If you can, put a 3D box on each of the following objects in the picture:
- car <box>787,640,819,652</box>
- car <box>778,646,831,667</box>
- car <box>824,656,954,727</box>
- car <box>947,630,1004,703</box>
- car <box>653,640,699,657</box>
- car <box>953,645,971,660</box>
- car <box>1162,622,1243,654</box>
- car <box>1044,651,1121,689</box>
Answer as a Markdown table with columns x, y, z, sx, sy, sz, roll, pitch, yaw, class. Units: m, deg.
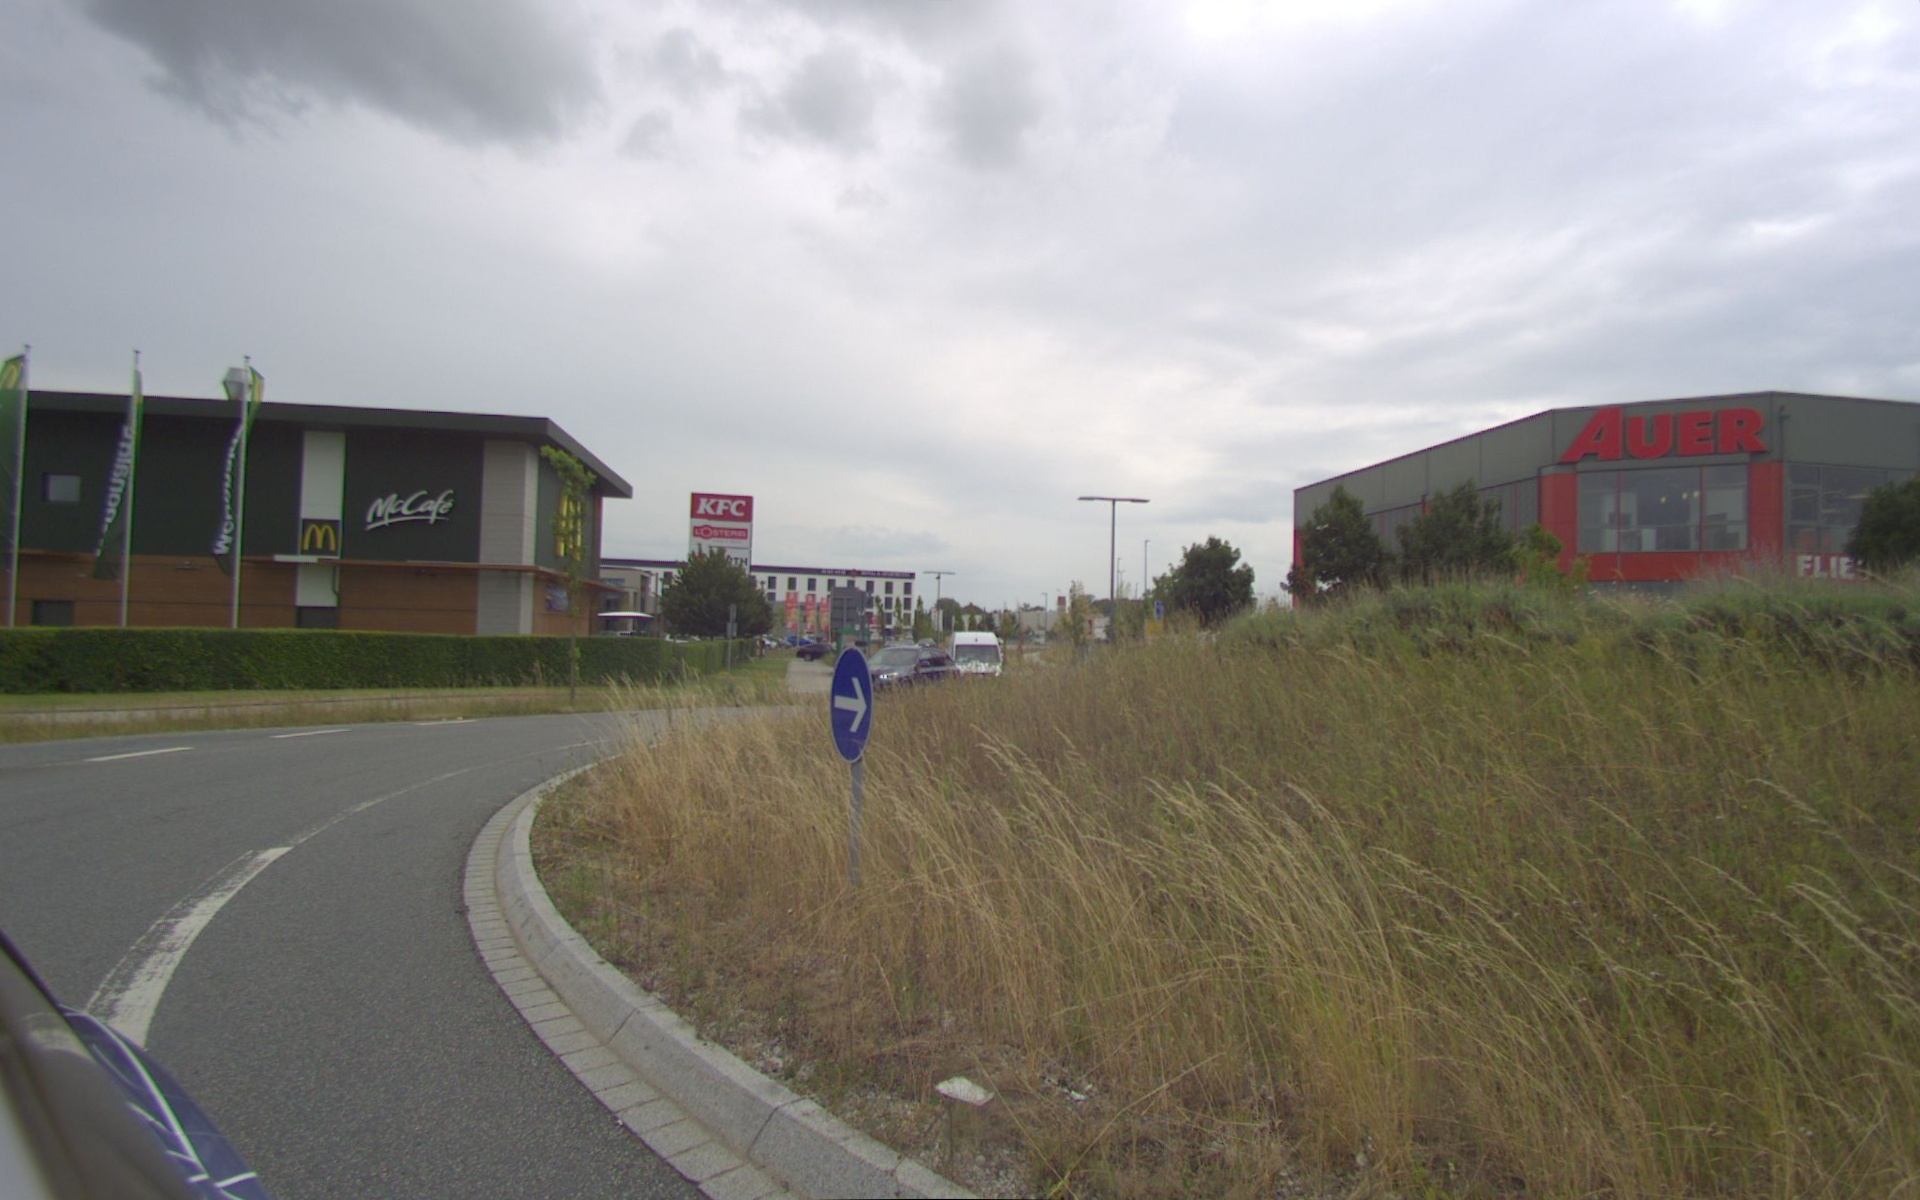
| x | y | z | sx | sy | sz | roll | pitch | yaw | class |
| --- | --- | --- | --- | --- | --- | --- | --- | --- | --- |
| -20.778 | 6.058 | 133.970 | 3.954 | 1.497 | 1.842 | -1 | -1 | 9 | car |
| -12.066 | 4.382 | 78.568 | 3.934 | 1.497 | 1.852 | 0 | -1 | -12 | car |
| -1.758 | 2.309 | 26.469 | 1.856 | 1.620 | 3.970 | 0 | -2 | 22 | car |
| 0.643 | 2.512 | 39.456 | 2.000 | 2.547 | 6.101 | 1 | -2 | 2 | car |
| -25.554 | 4.365 | 91.170 | 3.934 | 1.497 | 1.852 | 0 | -1 | -12 | car |
| 0.266 | 5.304 | 101.668 | 1.704 | 1.419 | 4.641 | 2 | -4 | 1 | car |
| 20.639 | 3.208 | 86.147 | 6.323 | 2.644 | 2.067 | 0 | -1 | -4 | car |
| 5.905 | 3.387 | 49.440 | 1.965 | 1.620 | 4.311 | 0 | -1 | -20 | car |
